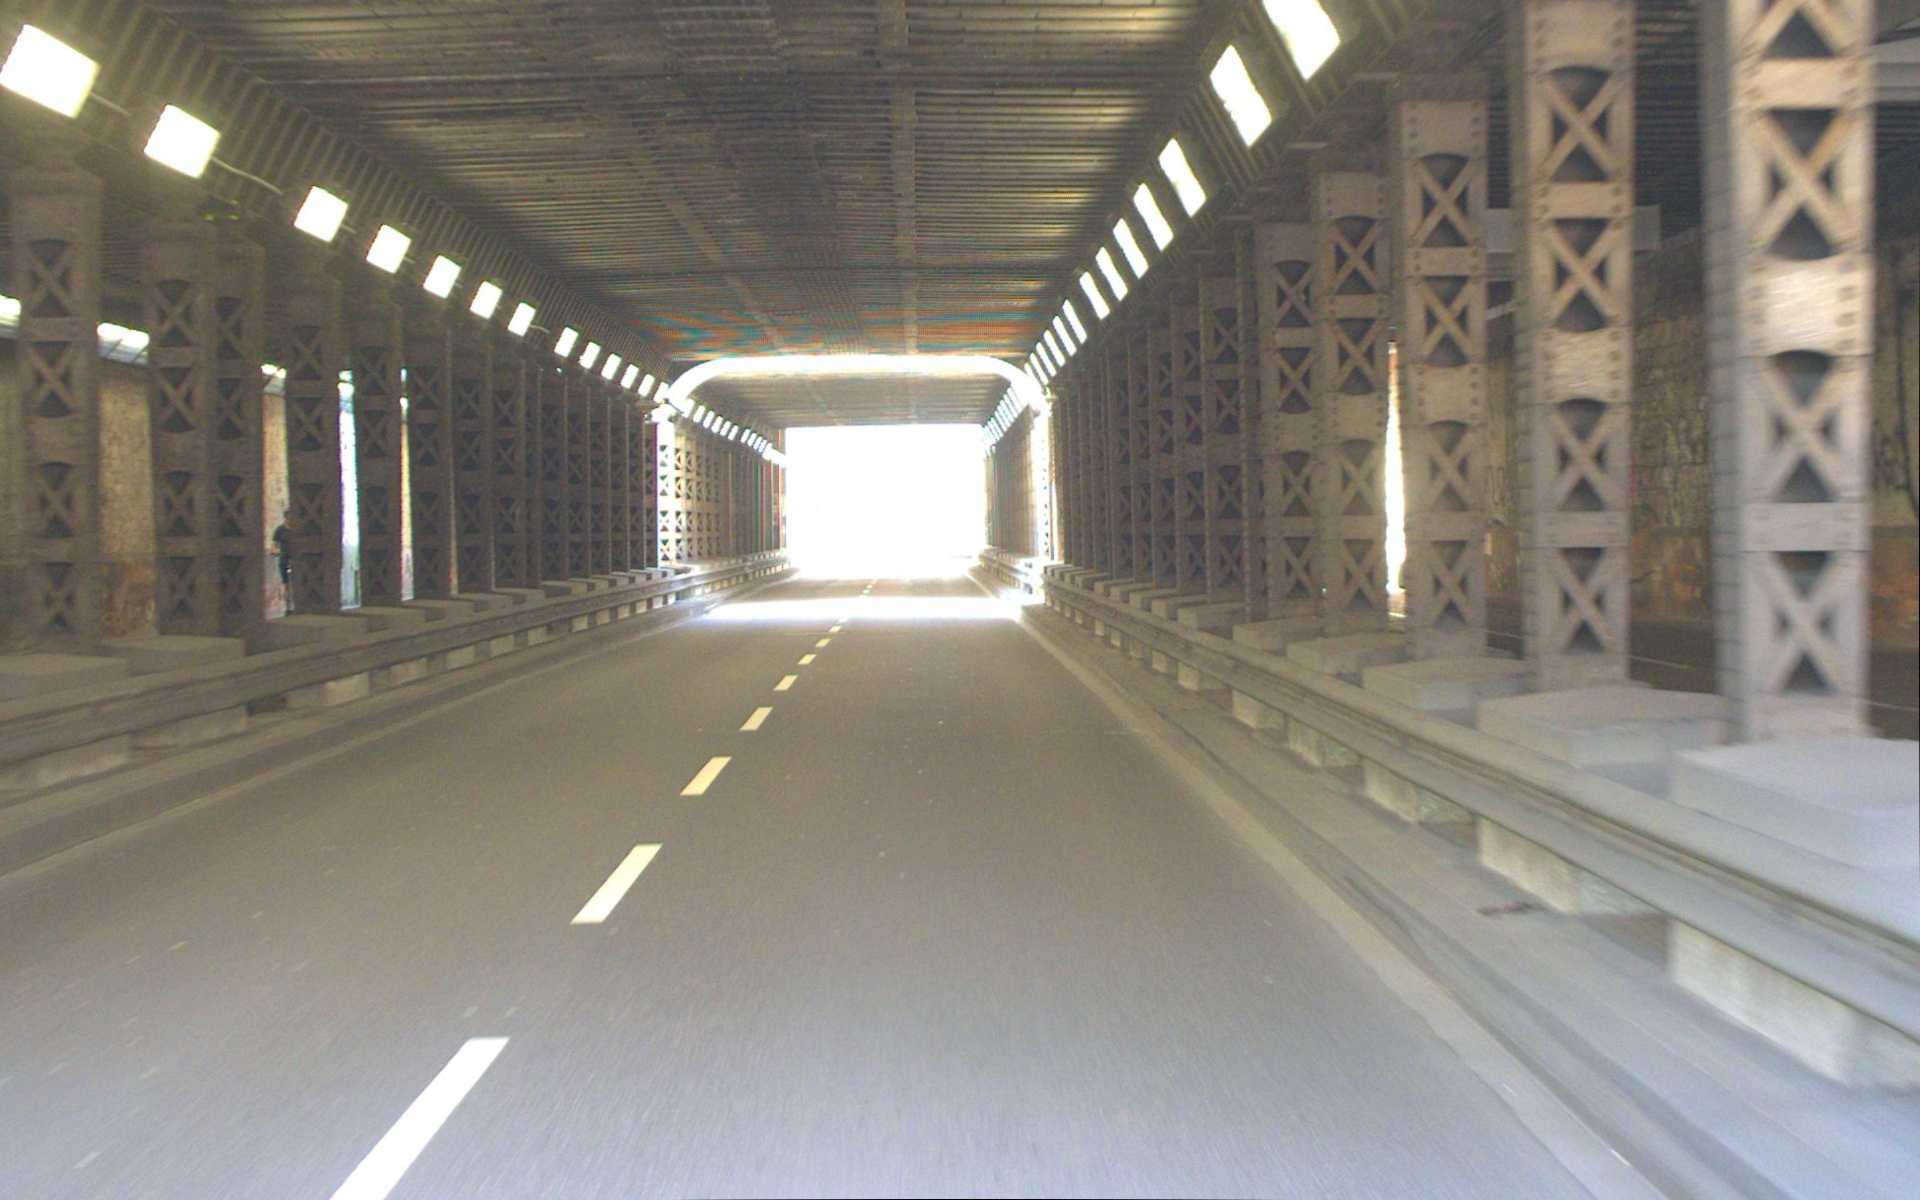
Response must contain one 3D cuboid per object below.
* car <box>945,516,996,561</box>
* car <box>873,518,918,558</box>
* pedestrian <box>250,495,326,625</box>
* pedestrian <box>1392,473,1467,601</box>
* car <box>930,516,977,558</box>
[{"bbox_3d":[0.417,-2.534,141.710,1.993,1.778,4.000,-1,1,-1],"label":"car"},{"bbox_3d":[-2.955,-2.866,157.554,1.993,1.778,4.000,-1,1,-1],"label":"car"},{"bbox_3d":[-10.771,-0.630,55.154,0.958,2.048,1.355,0,0,0],"label":"pedestrian"},{"bbox_3d":[6.373,-0.856,46.725,0.800,1.696,1.111,-2,1,-1],"label":"pedestrian"},{"bbox_3d":[-0.307,-2.785,151.117,1.993,1.778,4.000,-1,1,-1],"label":"car"}]
